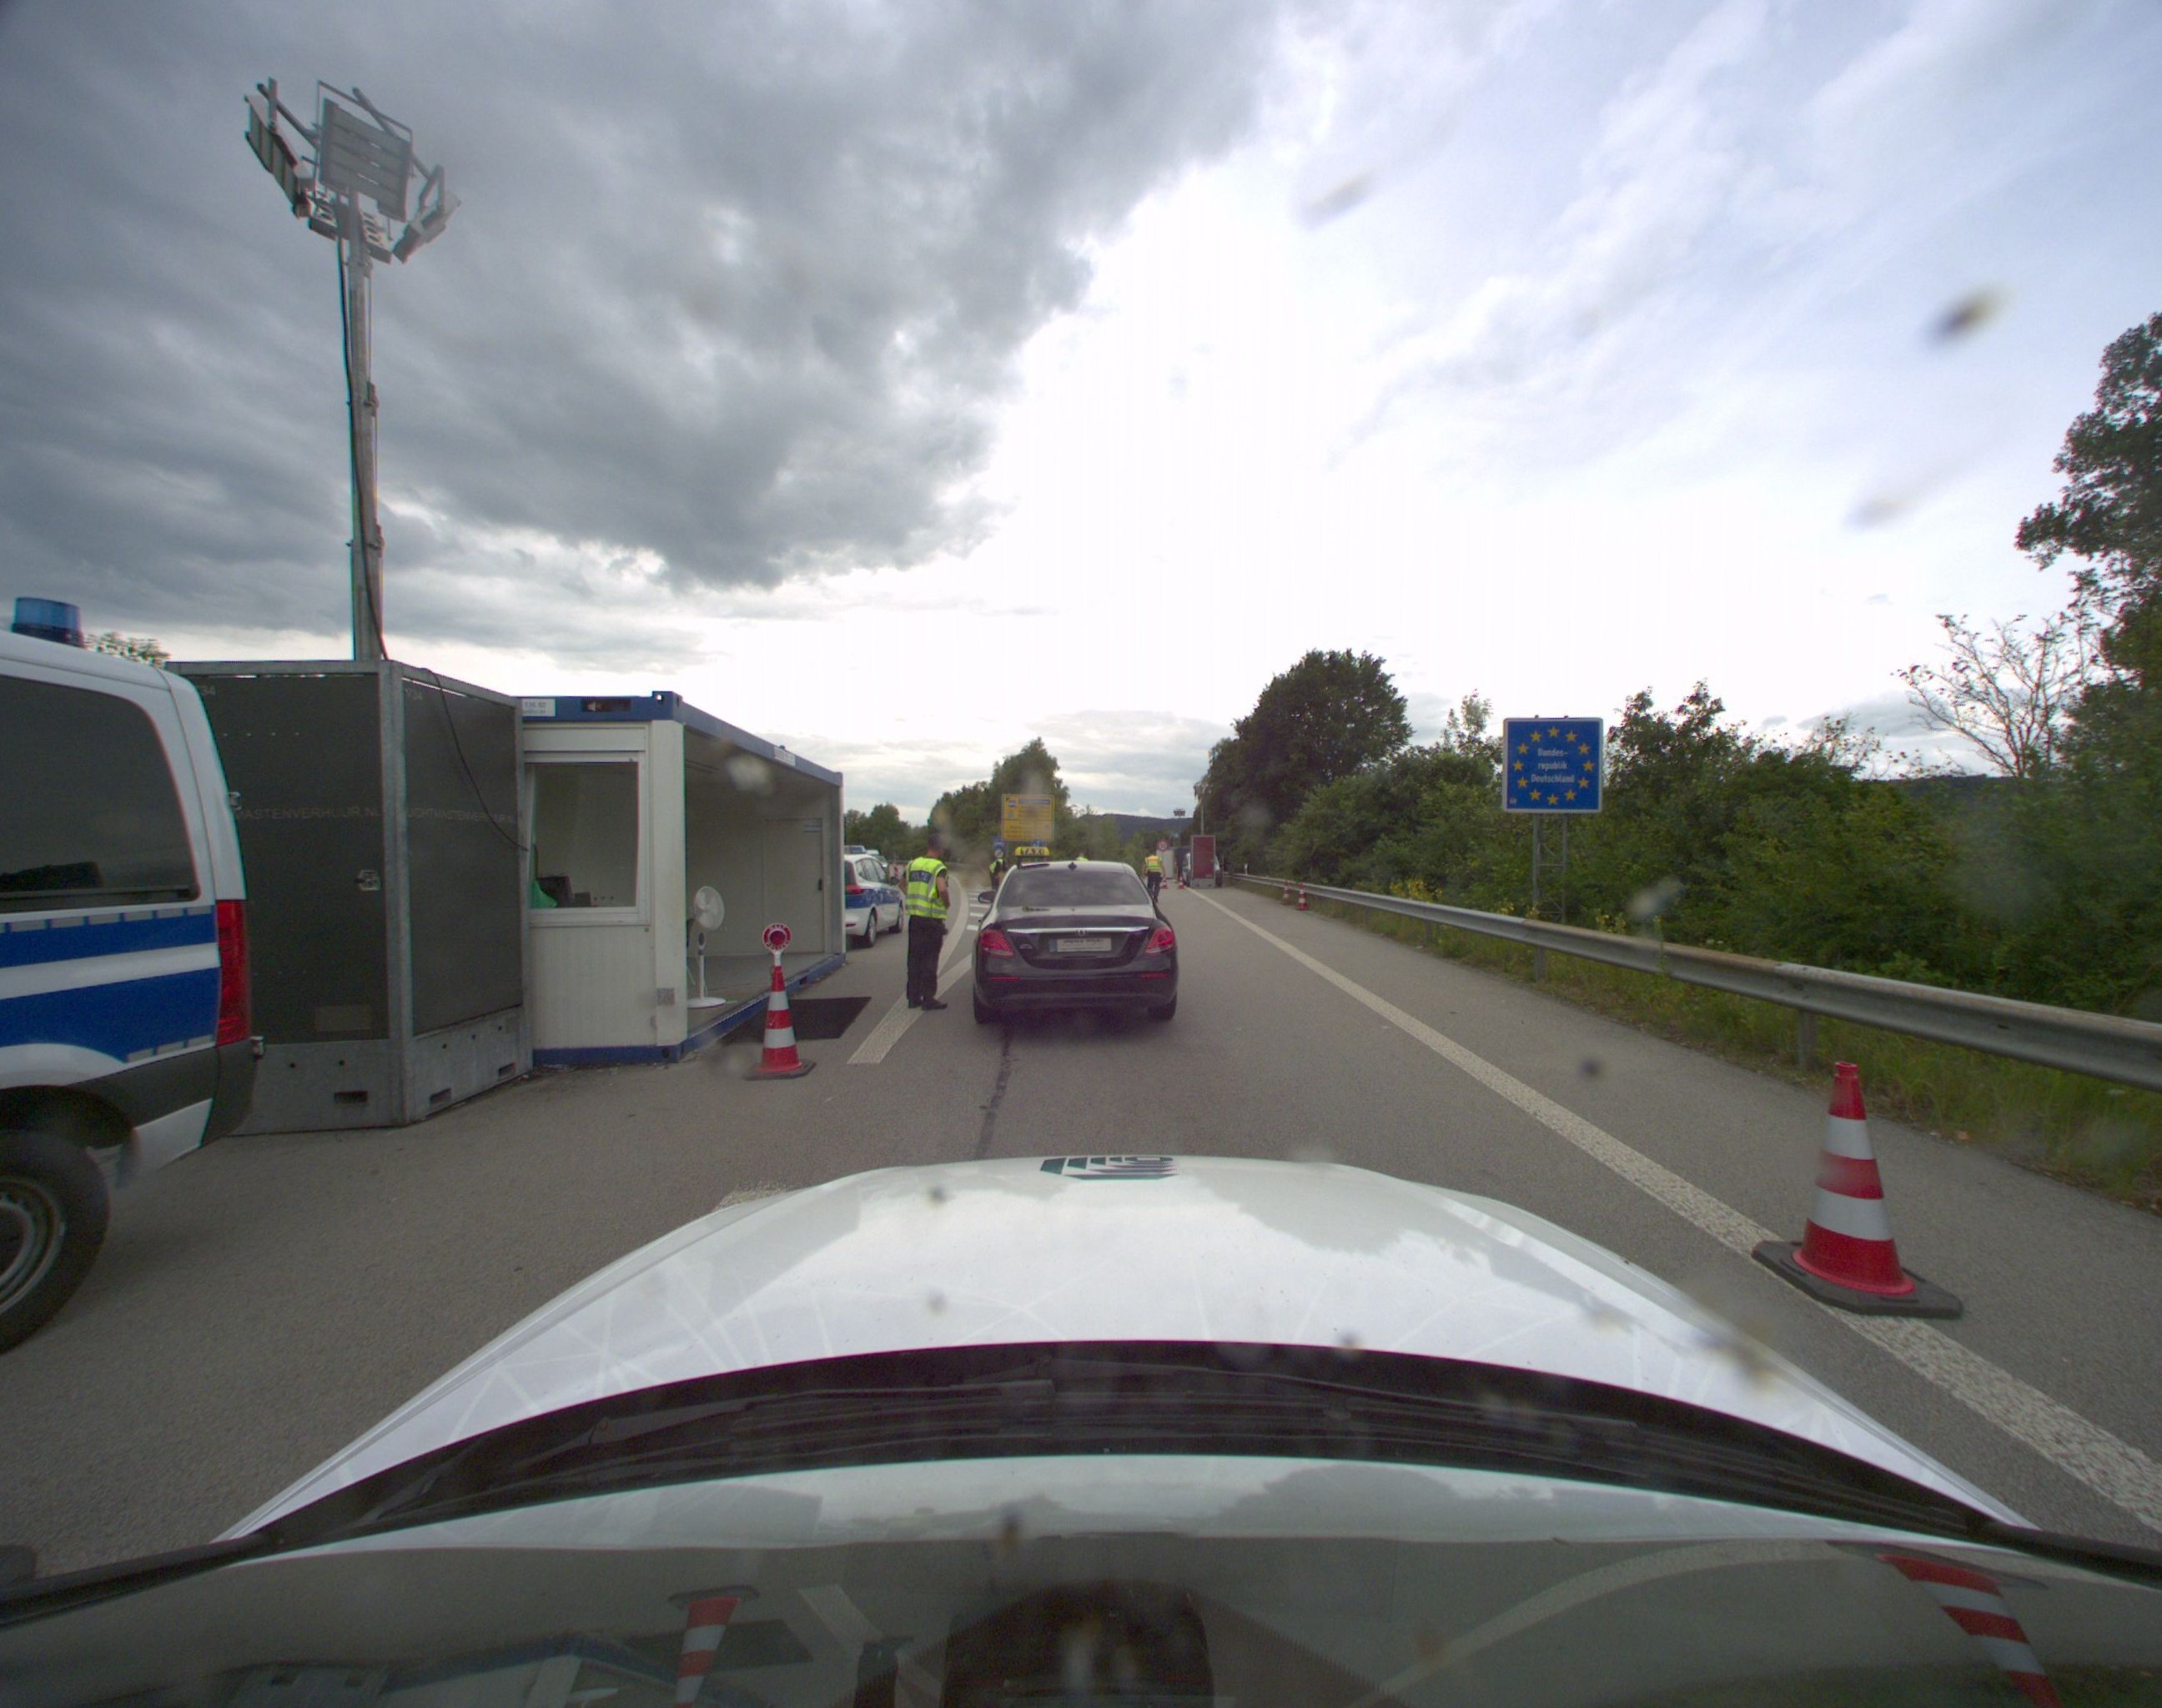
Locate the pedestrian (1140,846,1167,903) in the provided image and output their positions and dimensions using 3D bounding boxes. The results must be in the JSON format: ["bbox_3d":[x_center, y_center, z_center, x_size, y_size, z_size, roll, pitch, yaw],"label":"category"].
[{"bbox_3d":[2.381,0.662,26.788,0.809,1.830,0.810,-1,-1,1],"label":"pedestrian"}]

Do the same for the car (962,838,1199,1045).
[{"bbox_3d":[-0.102,0.686,8.606,1.851,1.595,4.371,-1,0,-3],"label":"car"}]

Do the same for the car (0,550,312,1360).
[{"bbox_3d":[-4.261,0.311,0.824,2.023,2.463,5.276,-1,0,-2],"label":"car"}]

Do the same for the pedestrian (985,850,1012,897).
[{"bbox_3d":[-3.121,0.732,30.955,0.908,1.769,0.911,-1,0,-1],"label":"pedestrian"}]

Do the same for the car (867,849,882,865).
[{"bbox_3d":[-28.928,0.435,113.757,1.859,2.222,4.233,-1,0,-16],"label":"car"}]

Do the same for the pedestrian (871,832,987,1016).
[{"bbox_3d":[-1.522,0.654,8.168,0.752,1.718,0.823,-2,-1,39],"label":"pedestrian"}]

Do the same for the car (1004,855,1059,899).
[{"bbox_3d":[-1.805,0.816,30.918,1.850,1.498,4.255,-1,0,-1],"label":"car"}]

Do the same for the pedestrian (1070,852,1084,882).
[{"bbox_3d":[-0.274,0.852,54.255,0.659,1.961,0.763,-1,-1,17],"label":"pedestrian"}]

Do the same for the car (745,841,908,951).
[{"bbox_3d":[-4.534,0.684,15.145,1.864,1.743,4.005,-1,0,-2],"label":"car"}]

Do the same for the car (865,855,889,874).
[{"bbox_3d":[-17.278,0.867,69.144,1.857,1.498,4.238,-1,0,-13],"label":"car"}]

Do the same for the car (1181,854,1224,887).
[{"bbox_3d":[6.758,0.871,45.735,1.908,1.678,5.087,1,0,3],"label":"car"}]

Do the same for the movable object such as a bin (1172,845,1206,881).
[{"bbox_3d":[7.199,0.595,54.576,1.984,2.280,4.172,-1,0,4],"label":"movable object such as a bin"}]

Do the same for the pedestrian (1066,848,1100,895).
[{"bbox_3d":[0.061,0.625,29.638,0.914,1.698,0.905,0,-1,-30],"label":"pedestrian"}]
